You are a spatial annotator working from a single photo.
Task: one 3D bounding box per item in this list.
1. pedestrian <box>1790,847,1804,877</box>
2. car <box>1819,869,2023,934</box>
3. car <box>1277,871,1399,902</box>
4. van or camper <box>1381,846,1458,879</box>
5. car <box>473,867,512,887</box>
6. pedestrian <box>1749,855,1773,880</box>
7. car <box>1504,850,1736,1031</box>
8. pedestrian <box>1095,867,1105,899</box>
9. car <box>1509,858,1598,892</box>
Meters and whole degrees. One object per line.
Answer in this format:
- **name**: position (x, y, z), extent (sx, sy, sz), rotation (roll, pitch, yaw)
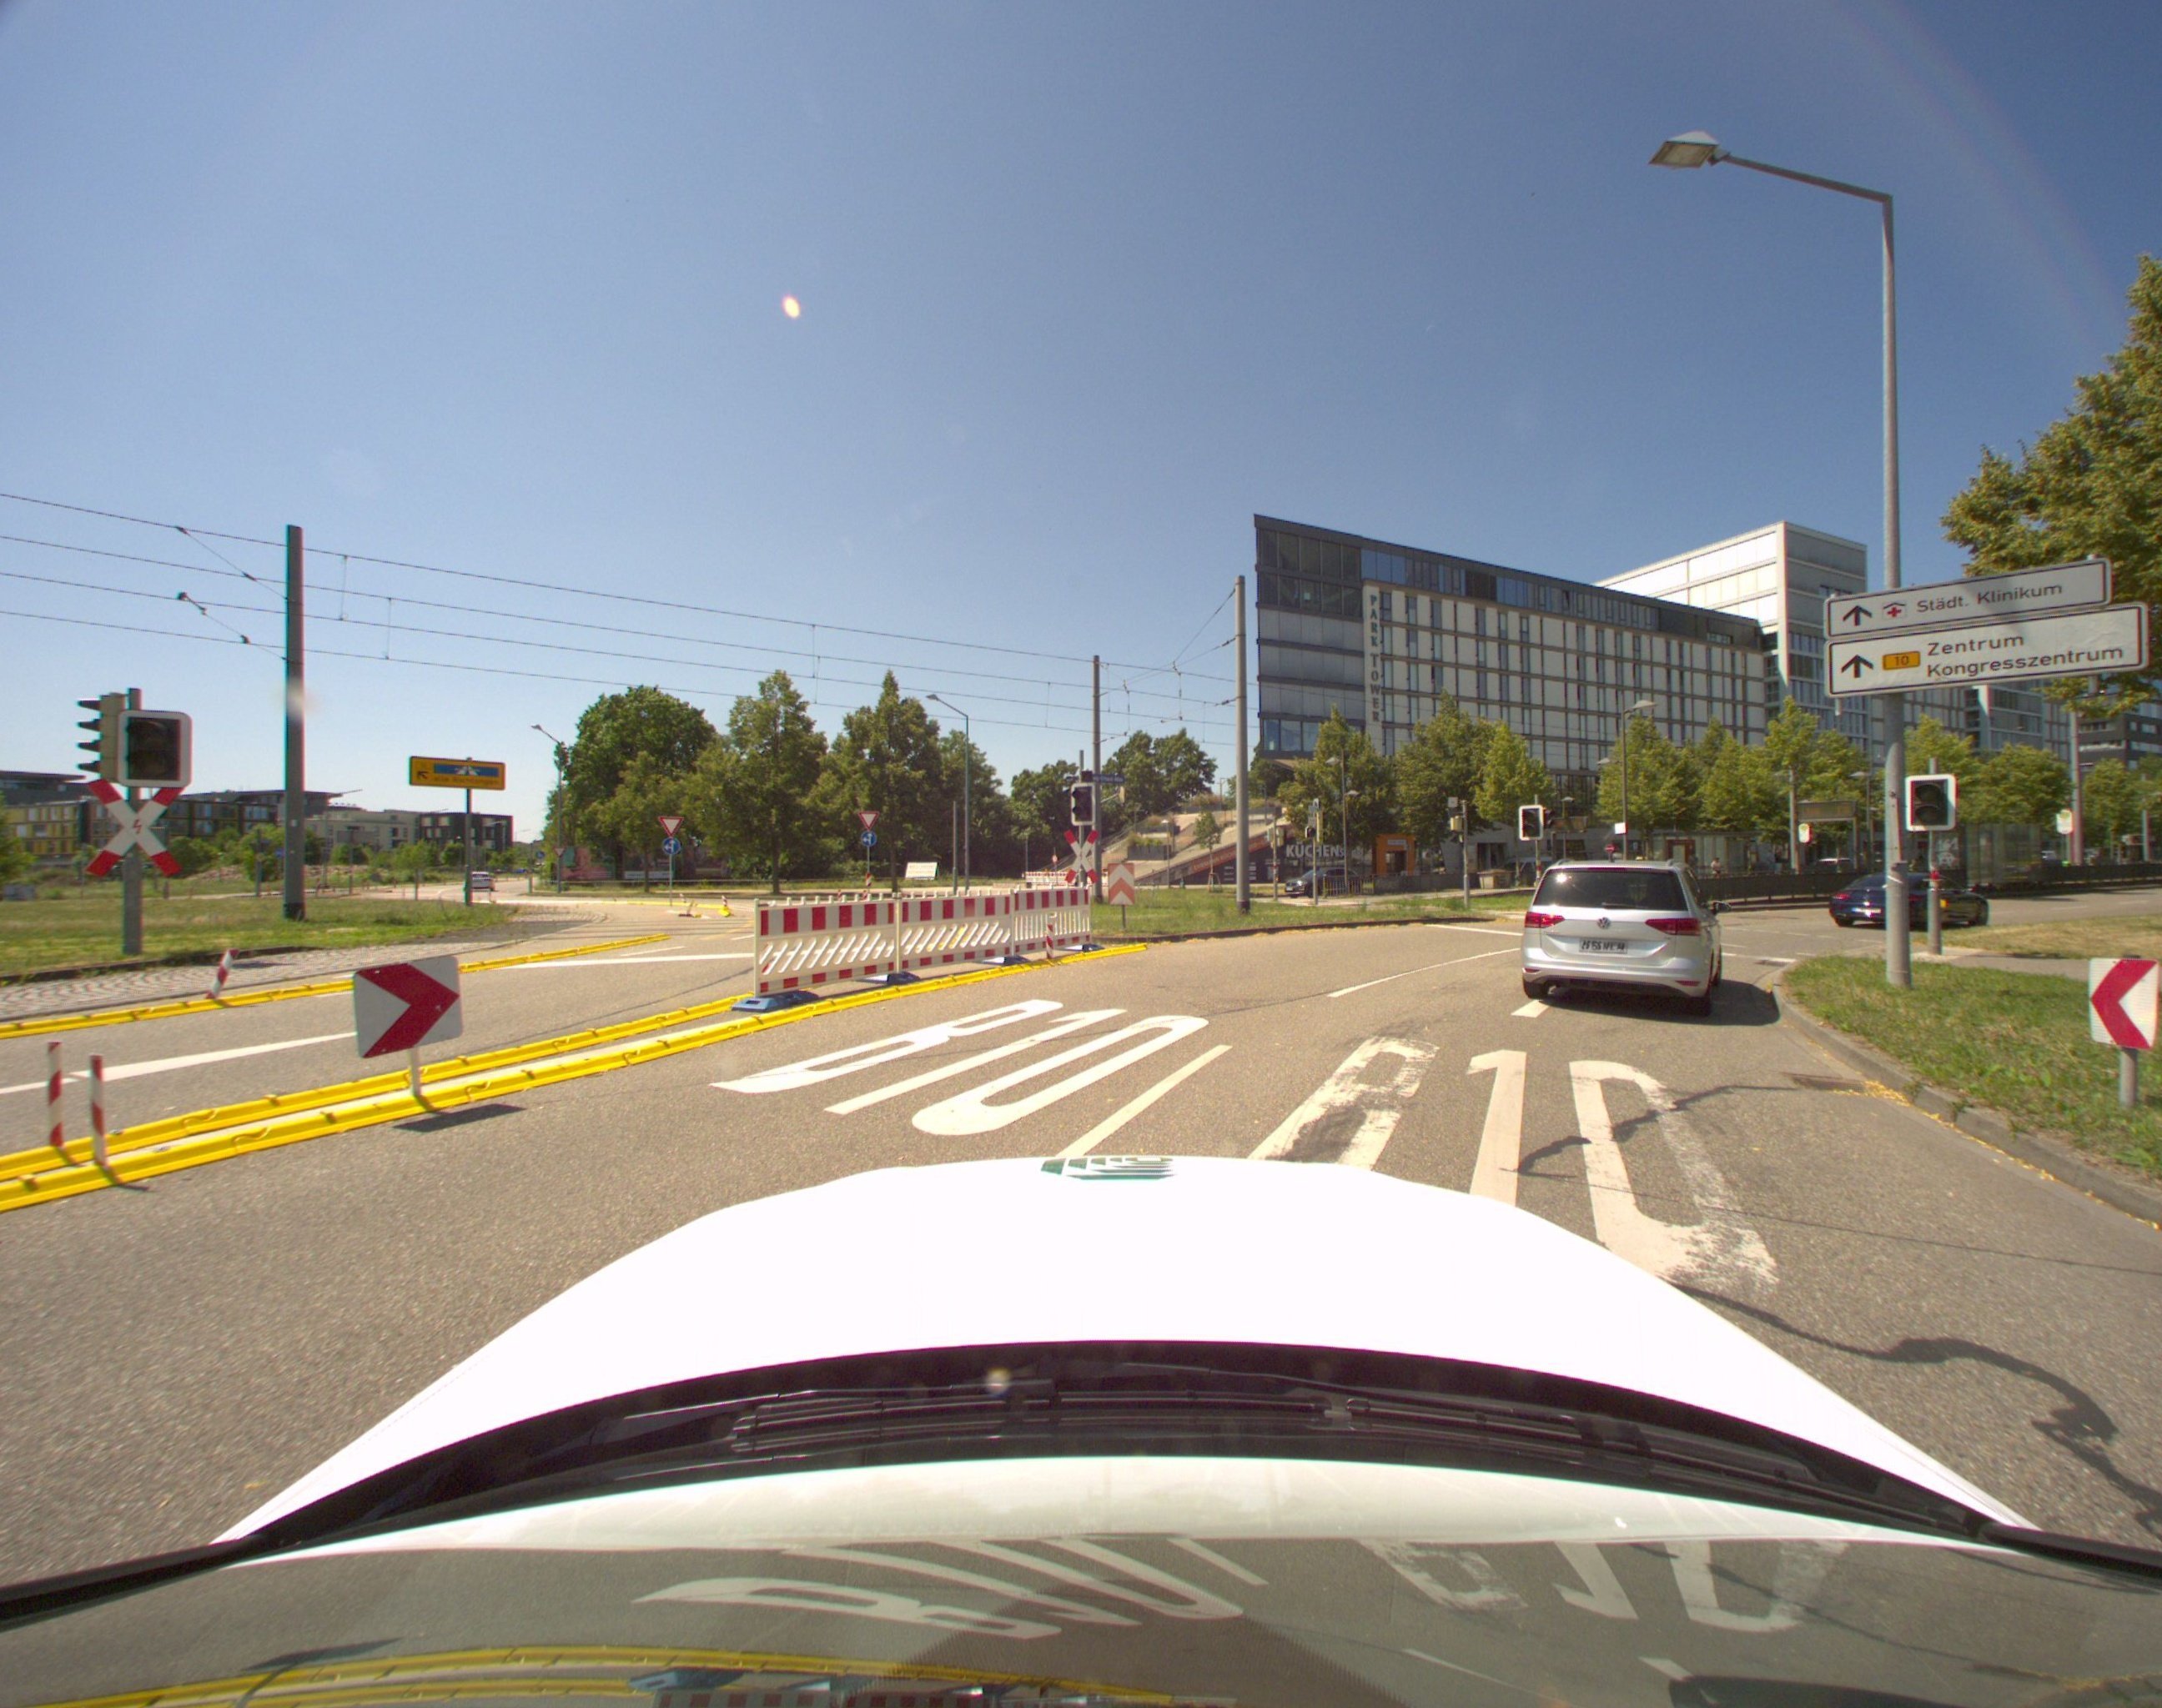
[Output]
- **pedestrian**: position (42.199, 0.477, 47.978), extent (0.587, 1.752, 0.407), rotation (1, -1, -26)
- **car**: position (20.918, 1.105, 20.269), extent (4.959, 1.436, 1.844), rotation (0, -1, -23)
- **car**: position (13.183, 1.652, 41.808), extent (5.826, 1.518, 1.990), rotation (1, -1, -15)
- **van or camper**: position (29.808, 0.761, 71.740), extent (6.799, 2.822, 2.363), rotation (1, -1, -26)
- **car**: position (-45.964, 1.780, 63.684), extent (2.006, 1.486, 4.324), rotation (0, -1, -31)
- **pedestrian**: position (38.222, 0.746, 45.761), extent (0.643, 1.413, 0.830), rotation (1, -1, -23)
- **car**: position (6.743, 0.835, 9.938), extent (1.783, 1.649, 4.633), rotation (2, 0, 40)
- **pedestrian**: position (1.026, 1.564, 43.887), extent (0.450, 1.739, 0.289), rotation (1, -1, -24)
- **car**: position (30.409, 1.362, 52.402), extent (5.546, 2.106, 1.985), rotation (1, -1, -22)
